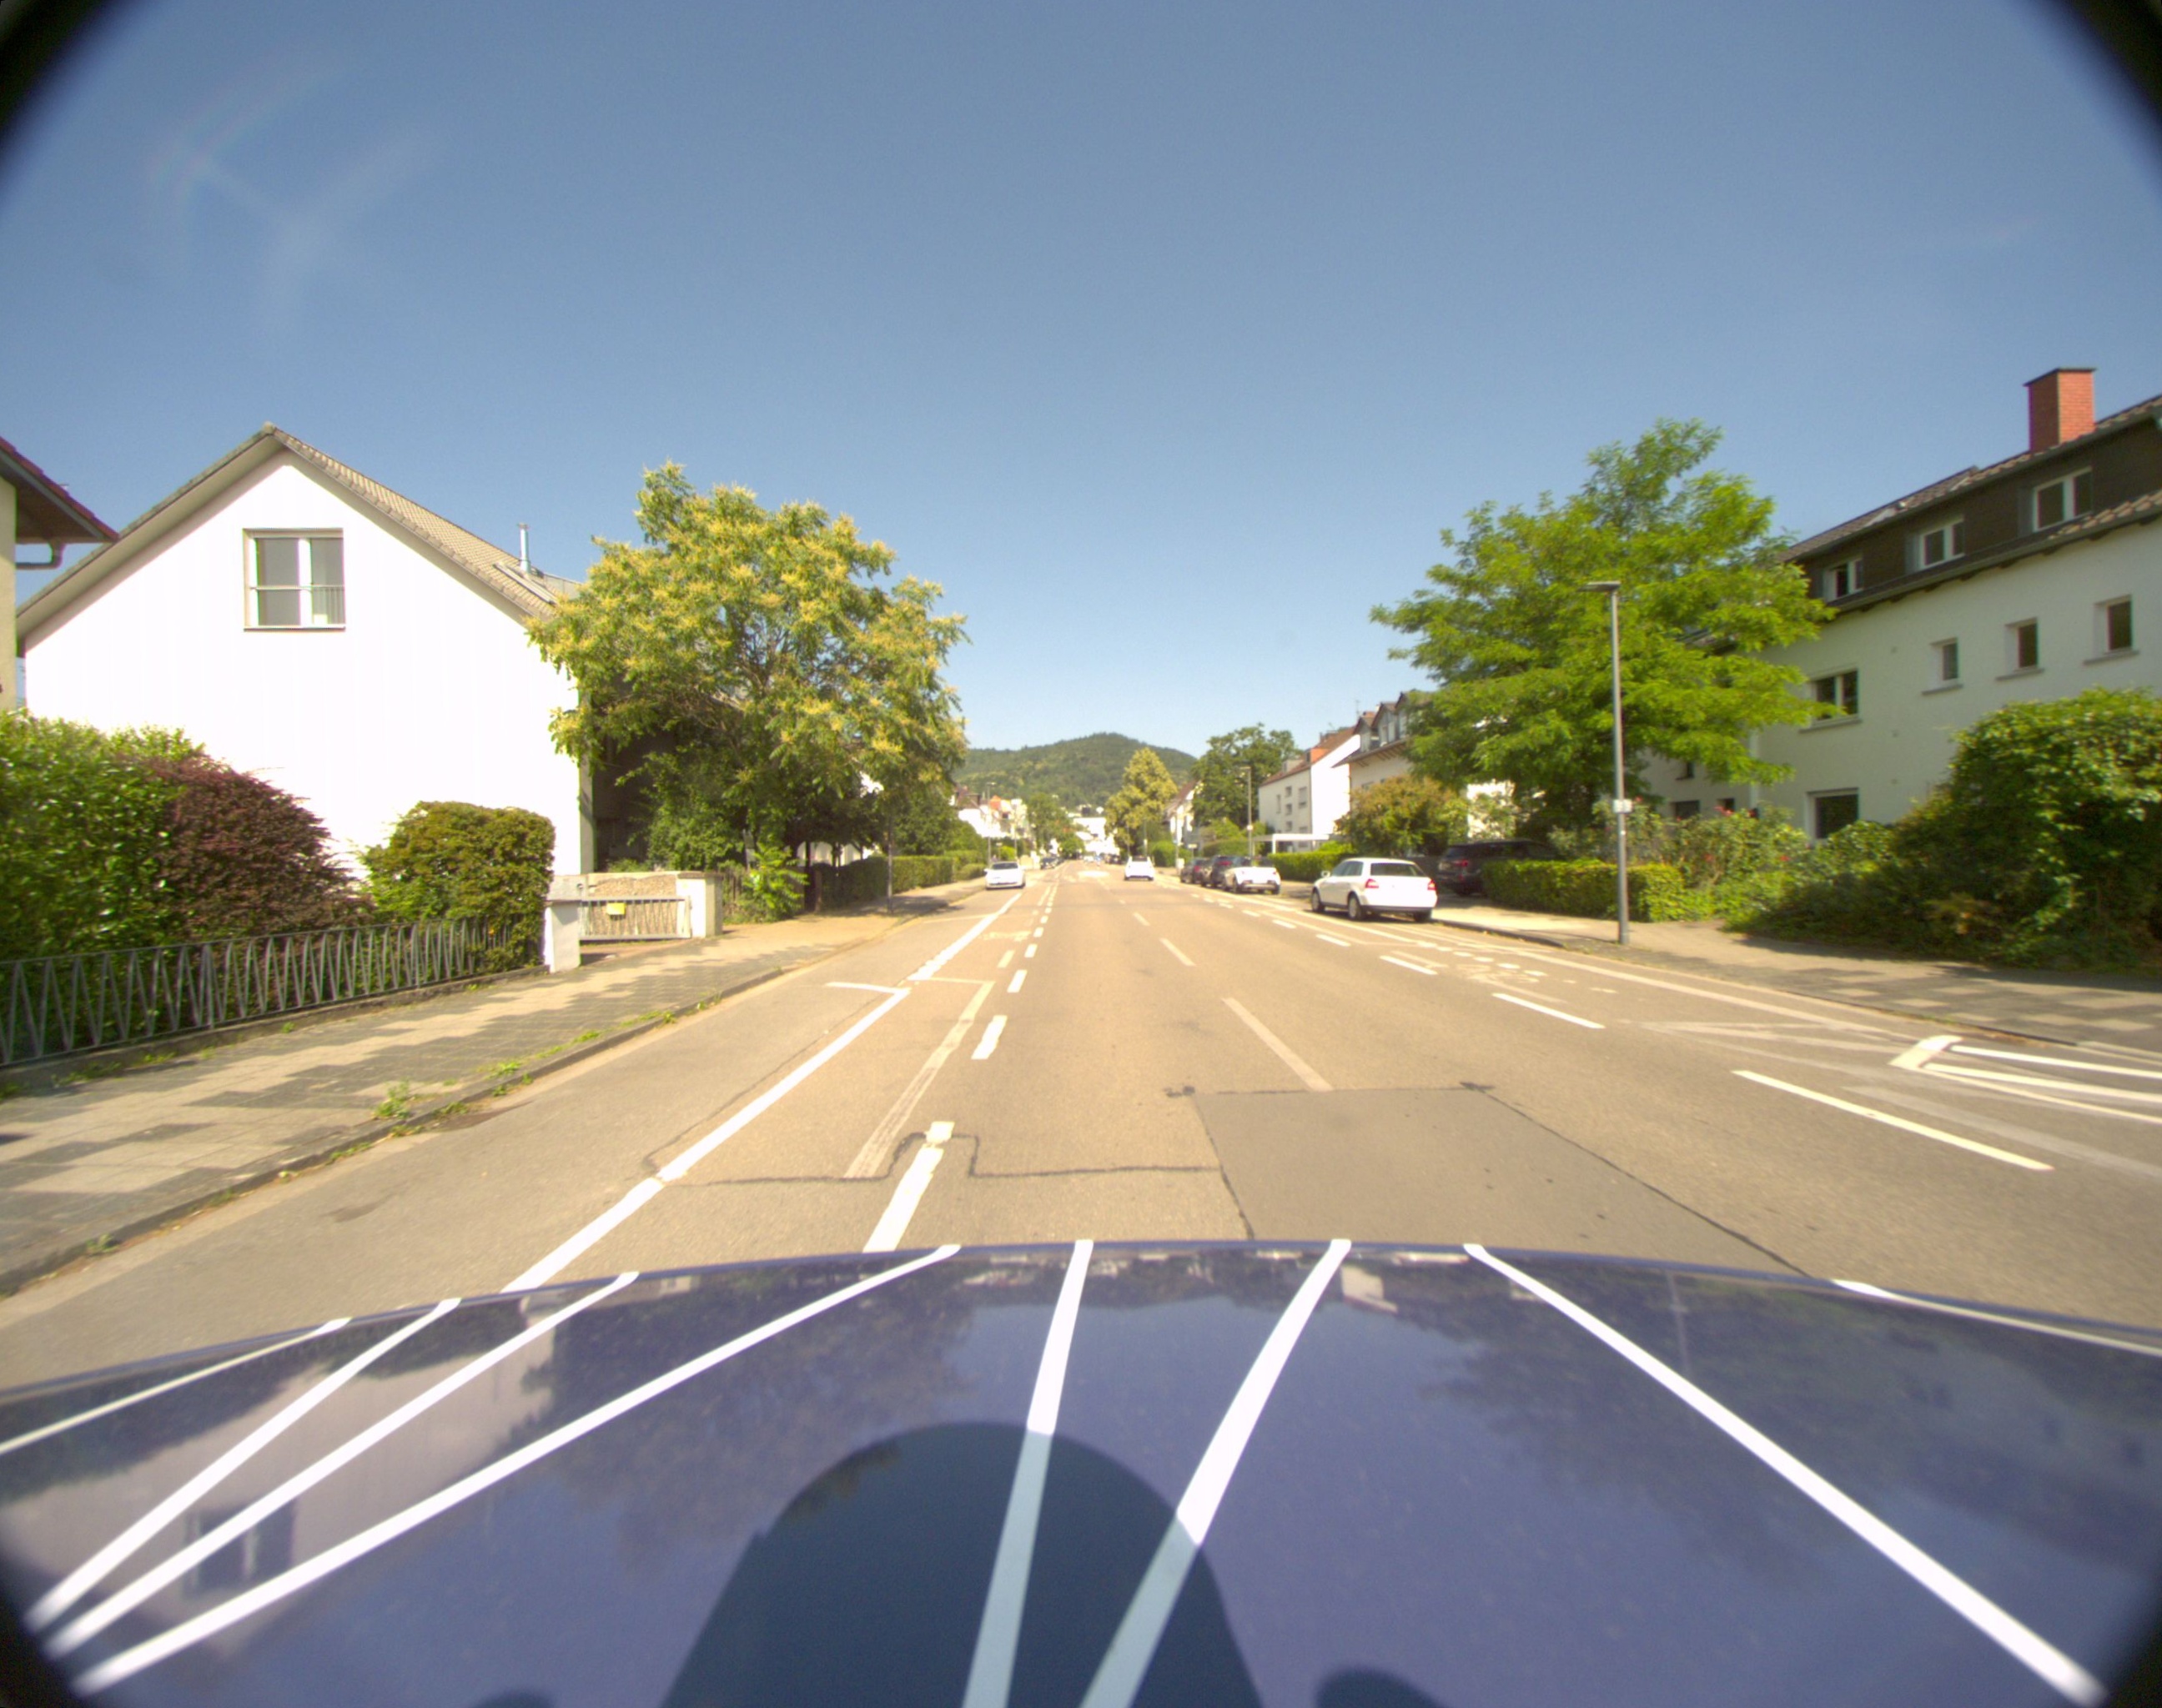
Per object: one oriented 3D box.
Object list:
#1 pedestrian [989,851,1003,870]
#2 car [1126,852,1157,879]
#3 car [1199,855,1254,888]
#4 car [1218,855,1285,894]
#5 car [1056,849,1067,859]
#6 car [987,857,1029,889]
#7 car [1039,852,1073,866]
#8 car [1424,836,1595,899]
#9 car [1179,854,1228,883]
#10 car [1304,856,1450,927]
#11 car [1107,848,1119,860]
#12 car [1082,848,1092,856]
[{"bbox_3d":[-8.437,0.666,75.303,0.903,1.862,1.186,-2,1,-33],"label":"pedestrian"},{"bbox_3d":[3.672,0.659,46.812,1.736,1.532,4.000,0,1,2],"label":"car"},{"bbox_3d":[6.625,0.762,35.097,1.789,1.431,4.110,0,0,1],"label":"car"},{"bbox_3d":[6.802,0.777,30.655,1.790,1.431,4.000,0,0,0],"label":"car"},{"bbox_3d":[-3.159,0.003,124.133,1.727,1.441,4.167,-4,1,-2],"label":"car"},{"bbox_3d":[-3.612,0.912,38.019,1.745,1.394,4.072,-3,1,-2],"label":"car"},{"bbox_3d":[-3.032,0.625,92.811,1.737,1.460,4.353,-2,1,36],"label":"car"},{"bbox_3d":[12.838,0.388,22.959,3.997,1.749,2.000,-1,0,0],"label":"car"},{"bbox_3d":[6.603,0.750,41.325,1.790,1.431,4.153,0,0,-3],"label":"car"},{"bbox_3d":[6.874,0.811,18.138,1.790,1.432,3.999,1,1,-2],"label":"car"},{"bbox_3d":[5.691,0.031,135.811,1.889,1.908,4.869,-1,-1,1],"label":"car"},{"bbox_3d":[1.201,-0.457,152.990,1.919,1.657,4.506,0,1,2],"label":"car"}]
